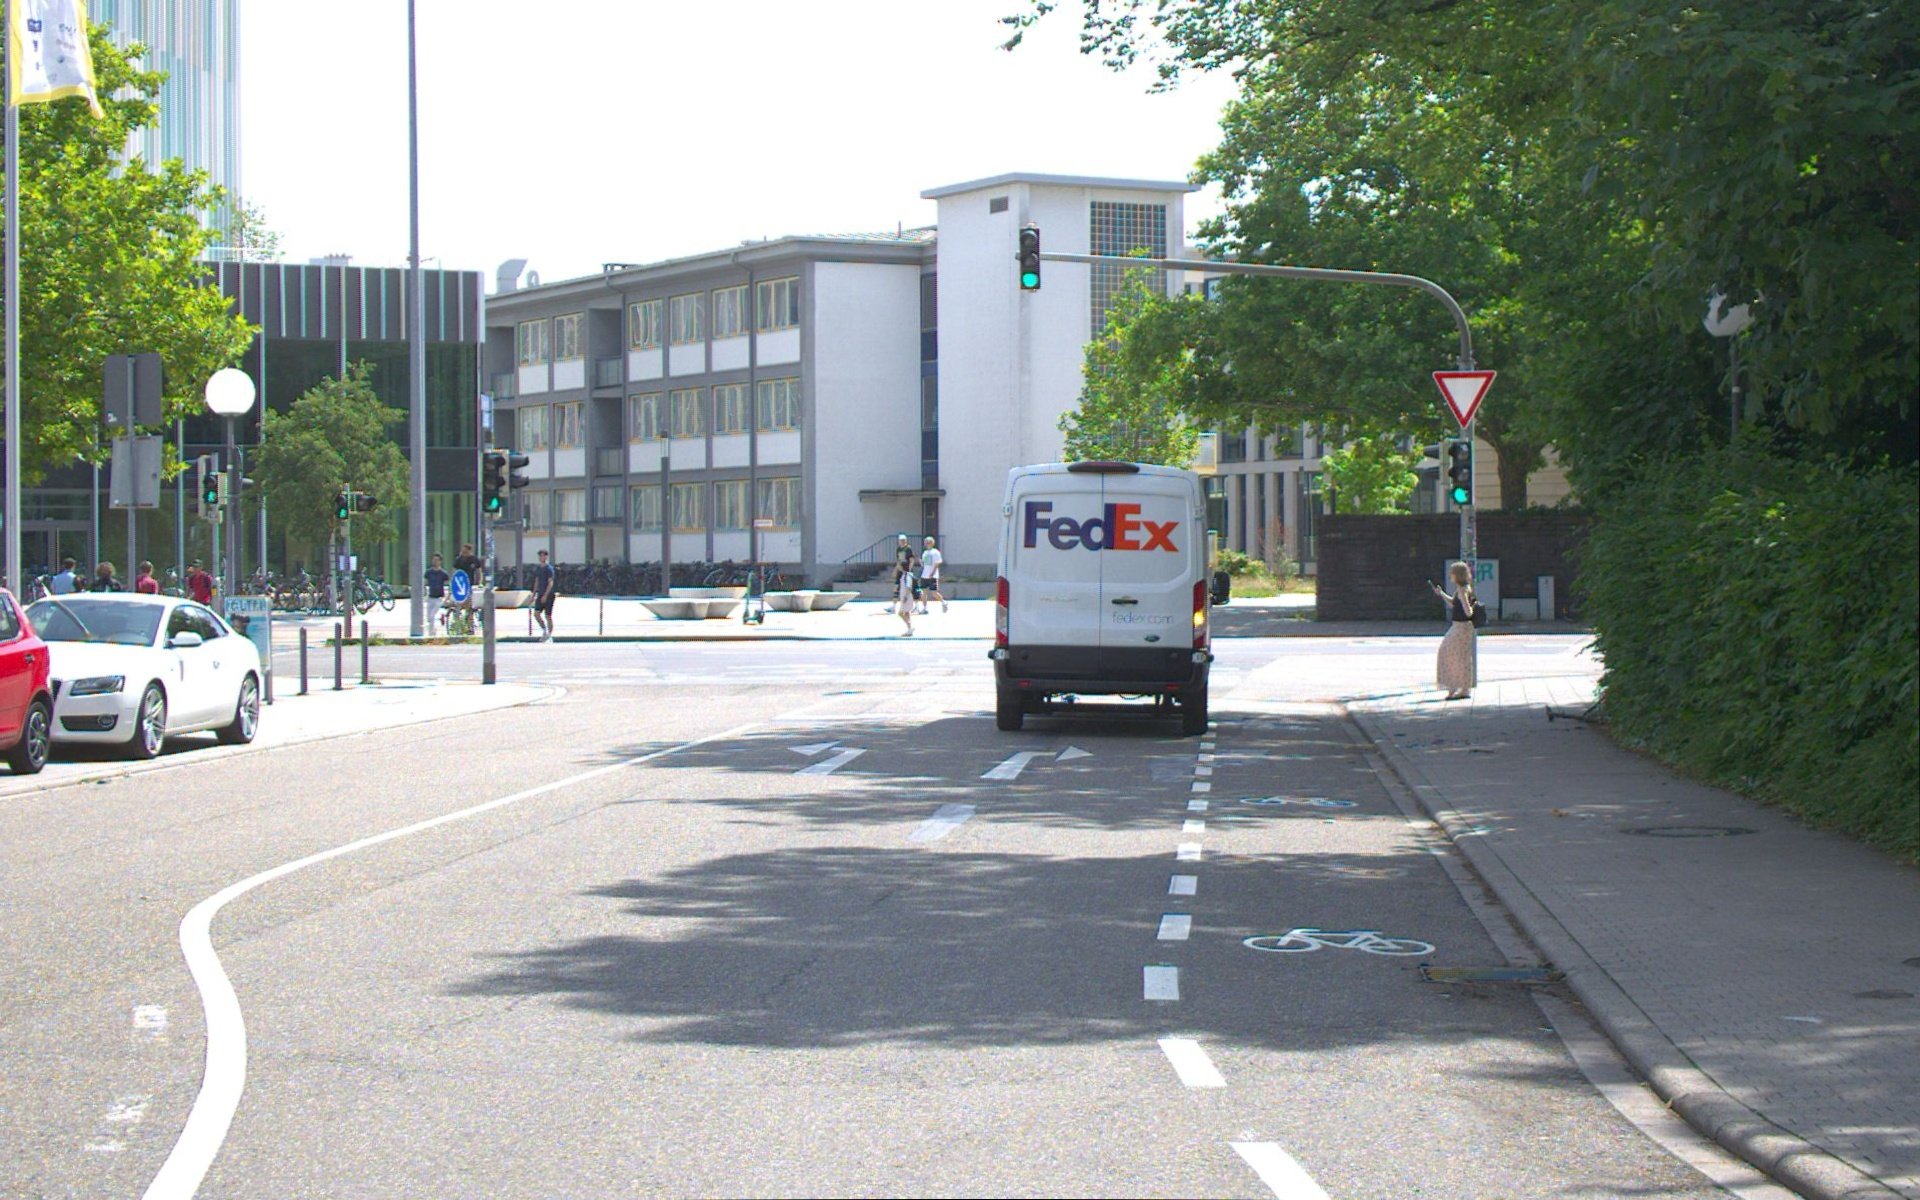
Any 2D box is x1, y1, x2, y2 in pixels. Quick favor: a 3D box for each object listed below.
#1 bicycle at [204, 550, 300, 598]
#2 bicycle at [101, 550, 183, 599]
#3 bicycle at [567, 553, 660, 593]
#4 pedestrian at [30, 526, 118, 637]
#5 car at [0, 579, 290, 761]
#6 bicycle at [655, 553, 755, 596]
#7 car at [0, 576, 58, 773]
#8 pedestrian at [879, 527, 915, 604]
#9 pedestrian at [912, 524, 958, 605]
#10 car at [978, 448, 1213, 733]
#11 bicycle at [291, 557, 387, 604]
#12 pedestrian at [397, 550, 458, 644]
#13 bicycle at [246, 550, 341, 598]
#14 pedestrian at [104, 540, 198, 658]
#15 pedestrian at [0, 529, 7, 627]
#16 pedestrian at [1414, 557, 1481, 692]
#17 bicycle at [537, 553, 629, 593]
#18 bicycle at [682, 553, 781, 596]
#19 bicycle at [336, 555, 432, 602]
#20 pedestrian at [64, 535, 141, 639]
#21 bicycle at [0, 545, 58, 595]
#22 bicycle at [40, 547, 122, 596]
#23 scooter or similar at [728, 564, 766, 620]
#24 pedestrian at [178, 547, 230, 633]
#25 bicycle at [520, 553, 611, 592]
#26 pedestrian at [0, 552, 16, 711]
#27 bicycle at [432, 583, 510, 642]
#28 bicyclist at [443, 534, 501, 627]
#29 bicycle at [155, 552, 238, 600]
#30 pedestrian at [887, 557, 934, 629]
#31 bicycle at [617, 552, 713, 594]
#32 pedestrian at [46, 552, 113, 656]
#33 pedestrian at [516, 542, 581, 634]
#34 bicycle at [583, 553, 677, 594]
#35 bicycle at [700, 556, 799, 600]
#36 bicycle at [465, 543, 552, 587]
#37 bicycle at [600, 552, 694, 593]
[{"bbox_3d":[-18.704,-0.698,90.781,1.197,1.233,2.950,0,1,-40],"label":"bicycle"},{"bbox_3d":[-21.174,-0.673,88.947,1.197,1.233,2.951,0,1,-32],"label":"bicycle"},{"bbox_3d":[-11.759,-0.915,116.842,2.956,1.359,1.117,0,1,-32],"label":"bicycle"},{"bbox_3d":[-14.581,-0.310,56.597,0.862,1.812,1.094,0,1,28],"label":"pedestrian"},{"bbox_3d":[-7.419,0.554,30.332,1.677,1.390,4.661,2,1,5],"label":"car"},{"bbox_3d":[-8.240,-0.827,111.190,2.956,1.359,1.276,0,1,-32],"label":"bicycle"},{"bbox_3d":[-8.122,0.559,25.146,1.677,1.462,3.910,2,1,5],"label":"car"},{"bbox_3d":[-1.494,-0.812,81.541,0.668,1.809,0.816,0,1,-14],"label":"pedestrian"},{"bbox_3d":[-0.588,-0.837,80.918,0.865,1.883,0.913,0,1,-14],"label":"pedestrian"},{"bbox_3d":[1.424,-0.132,33.942,2.095,2.558,5.601,-1,1,4],"label":"car"},{"bbox_3d":[-16.680,-0.531,92.313,1.197,1.233,2.950,0,1,-40],"label":"bicycle"},{"bbox_3d":[-10.836,-0.078,69.969,0.703,1.849,1.398,0,2,14],"label":"pedestrian"},{"bbox_3d":[-17.768,-0.699,91.614,1.197,1.233,2.950,0,1,-40],"label":"bicycle"},{"bbox_3d":[-12.485,-0.022,53.065,0.807,1.801,1.265,0,1,23],"label":"pedestrian"},{"bbox_3d":[-25.585,-0.578,89.839,0.973,2.556,1.014,0,1,-38],"label":"pedestrian"},{"bbox_3d":[5.774,0.282,40.728,0.731,1.570,0.775,1,1,6],"label":"pedestrian"},{"bbox_3d":[-13.031,-0.946,118.861,2.956,1.359,1.117,0,1,-32],"label":"bicycle"},{"bbox_3d":[-7.299,-0.805,109.836,2.956,1.359,1.117,0,1,-32],"label":"bicycle"},{"bbox_3d":[-15.596,-0.586,93.023,1.197,1.233,2.950,0,1,-40],"label":"bicycle"},{"bbox_3d":[-13.813,-0.220,55.384,0.826,1.649,0.861,0,1,25],"label":"pedestrian"},{"bbox_3d":[-23.787,-0.760,86.805,1.197,1.233,2.951,0,1,-31],"label":"bicycle"},{"bbox_3d":[-22.579,-0.730,88.283,1.197,1.233,2.951,0,1,-32],"label":"bicycle"},{"bbox_3d":[-4.720,-0.181,76.067,0.716,1.174,2.726,0,1,-6],"label":"scooter or similar"},{"bbox_3d":[-14.785,-0.203,67.273,0.753,1.672,0.755,0,1,8],"label":"pedestrian"},{"bbox_3d":[-13.808,-0.969,120.421,2.956,1.359,1.117,0,1,-32],"label":"bicycle"},{"bbox_3d":[-11.544,0.364,40.215,0.719,1.853,0.770,0,1,7],"label":"pedestrian"},{"bbox_3d":[-9.619,0.233,67.698,0.771,1.118,2.025,0,1,15],"label":"bicycle"},{"bbox_3d":[-9.615,-0.385,67.710,0.790,1.811,0.998,0,1,14],"label":"bicyclist"},{"bbox_3d":[-20.069,-0.650,90.303,1.197,1.233,2.951,0,1,-32],"label":"bicycle"},{"bbox_3d":[-1.048,-0.150,72.414,0.824,1.518,0.815,0,1,-14],"label":"pedestrian"},{"bbox_3d":[-9.731,-0.900,113.512,2.956,1.359,1.117,0,1,-32],"label":"bicycle"},{"bbox_3d":[-13.691,0.056,53.467,0.771,1.592,0.798,0,1,7],"label":"pedestrian"},{"bbox_3d":[-8.412,-0.257,70.330,0.831,1.864,1.082,0,1,28],"label":"pedestrian"},{"bbox_3d":[-11.115,-0.904,115.756,2.956,1.359,1.117,0,1,-32],"label":"bicycle"},{"bbox_3d":[-6.649,-0.682,108.674,2.956,1.359,1.117,0,1,-32],"label":"bicycle"},{"bbox_3d":[-16.458,-1.260,125.281,2.956,1.569,1.117,0,1,-32],"label":"bicycle"},{"bbox_3d":[-10.433,-0.915,114.636,2.956,1.359,1.117,0,1,-32],"label":"bicycle"}]
